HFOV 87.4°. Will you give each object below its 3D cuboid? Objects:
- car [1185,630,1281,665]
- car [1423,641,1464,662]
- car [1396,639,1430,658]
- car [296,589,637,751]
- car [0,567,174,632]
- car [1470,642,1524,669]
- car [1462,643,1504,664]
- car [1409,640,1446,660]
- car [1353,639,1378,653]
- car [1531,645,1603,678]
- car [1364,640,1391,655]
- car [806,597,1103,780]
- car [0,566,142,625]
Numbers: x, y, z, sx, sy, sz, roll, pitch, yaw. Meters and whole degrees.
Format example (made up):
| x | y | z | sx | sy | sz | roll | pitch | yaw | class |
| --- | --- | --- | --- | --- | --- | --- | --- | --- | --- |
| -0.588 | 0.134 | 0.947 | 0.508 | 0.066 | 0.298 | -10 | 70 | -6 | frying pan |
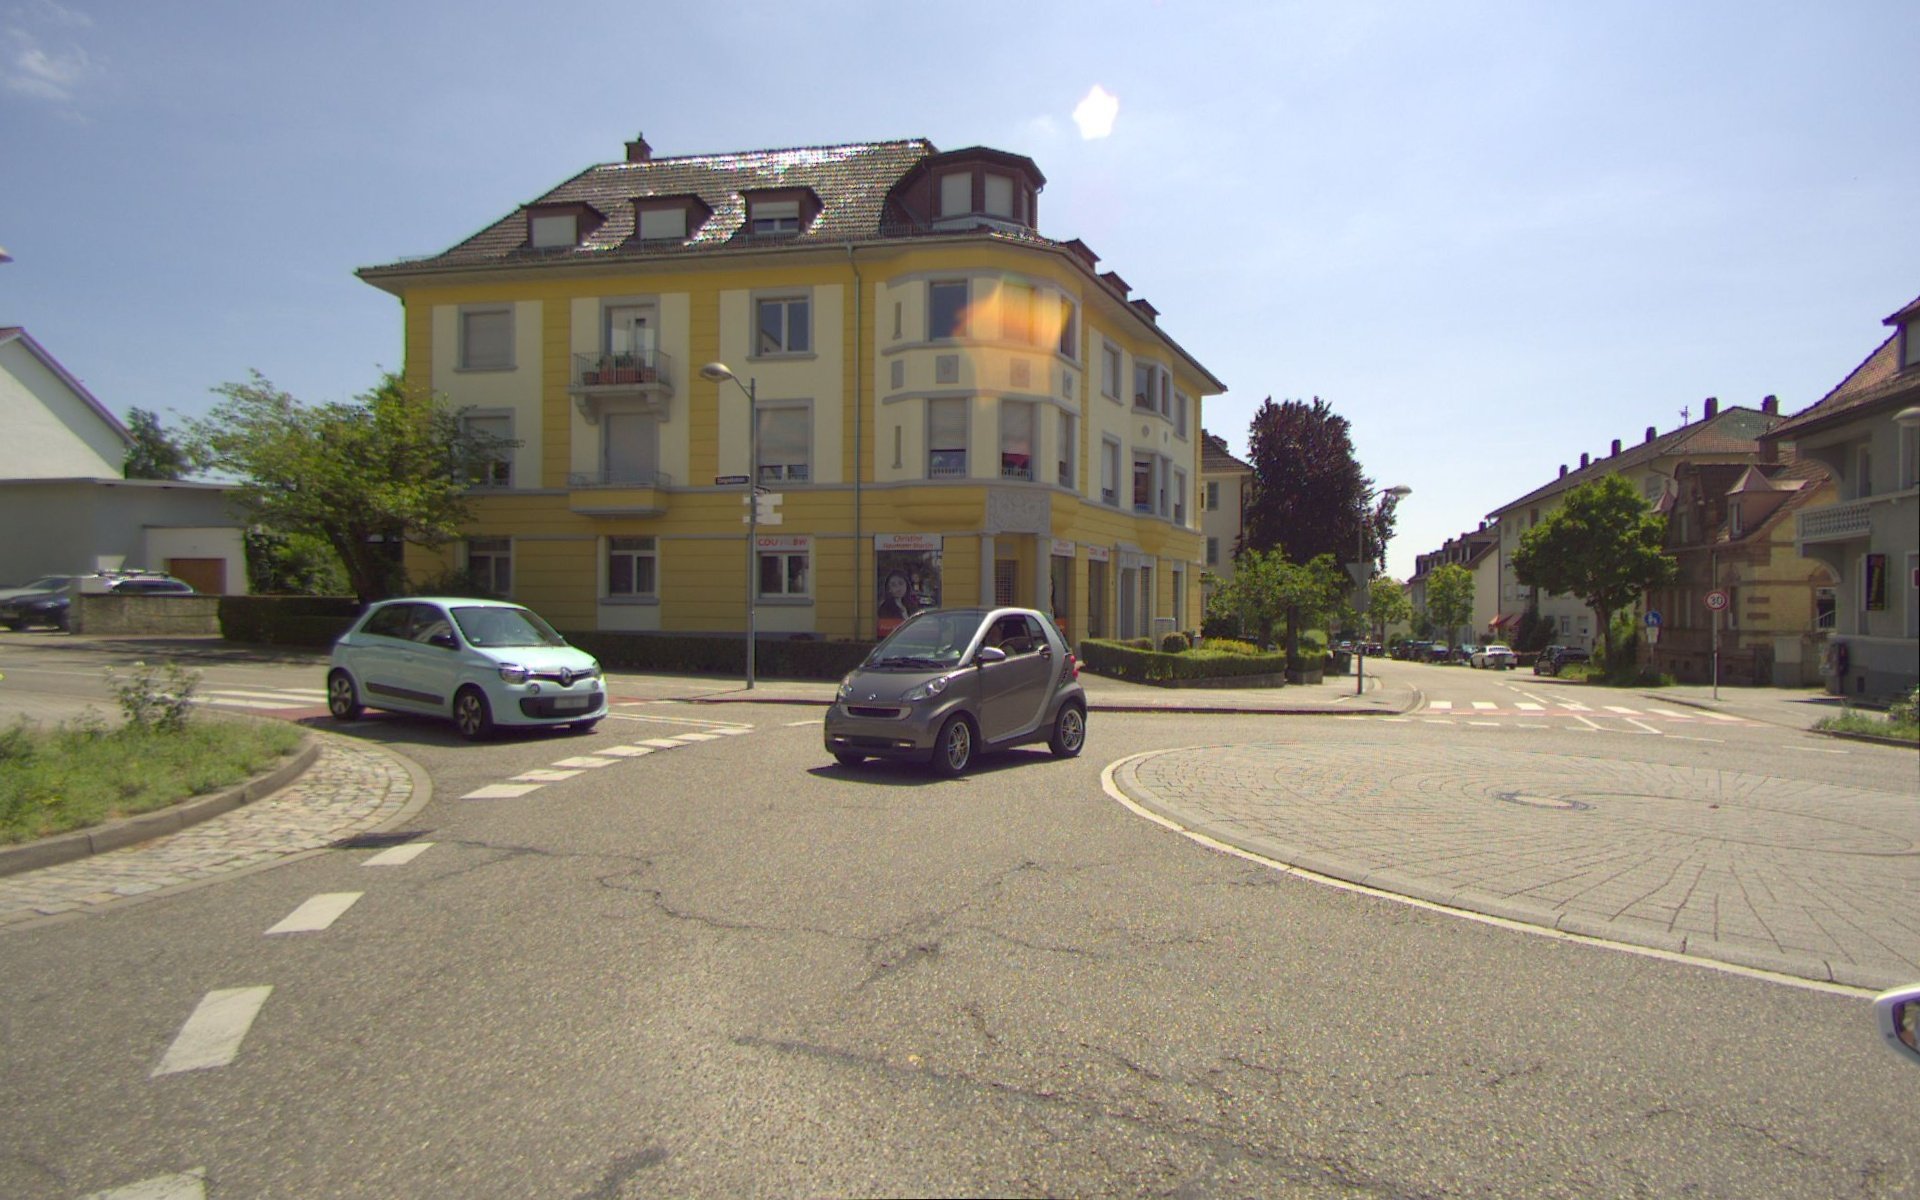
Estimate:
| x | y | z | sx | sy | sz | roll | pitch | yaw | class |
| --- | --- | --- | --- | --- | --- | --- | --- | --- | --- |
| 13.526 | 2.351 | 50.012 | 4.329 | 1.529 | 2.002 | 2 | -1 | 8 | car |
| 38.089 | 4.025 | 79.212 | 1.959 | 1.529 | 4.422 | 2 | -1 | 14 | car |
| 40.792 | 4.376 | 90.501 | 1.959 | 1.529 | 4.422 | 2 | -1 | 14 | car |
| -6.092 | 0.740 | 12.323 | 4.086 | 1.545 | 1.658 | 3 | 1 | 28 | car |
| -23.701 | 0.013 | 27.224 | 1.722 | 1.607 | 3.991 | 2 | -1 | -3 | car |
| 34.420 | 3.549 | 64.510 | 1.959 | 1.529 | 4.422 | 2 | -1 | 14 | car |
| 42.602 | 4.325 | 81.889 | 1.959 | 1.529 | 4.422 | 2 | -1 | 14 | car |
| 39.645 | 4.219 | 85.322 | 1.959 | 1.529 | 4.422 | 2 | -1 | 14 | car |
| 46.925 | 5.276 | 116.298 | 1.959 | 1.529 | 4.422 | 2 | -1 | 14 | car |
| 31.697 | 3.172 | 52.618 | 1.959 | 1.529 | 4.422 | 2 | -1 | 14 | car |
| 45.792 | 5.162 | 110.252 | 1.959 | 1.529 | 4.422 | 2 | -1 | 14 | car |
| 0.023 | 0.830 | 10.127 | 1.547 | 1.550 | 2.774 | -2 | -3 | 42 | car |
| -26.446 | -0.103 | 29.221 | 1.721 | 1.607 | 3.995 | 2 | -1 | 7 | car |
